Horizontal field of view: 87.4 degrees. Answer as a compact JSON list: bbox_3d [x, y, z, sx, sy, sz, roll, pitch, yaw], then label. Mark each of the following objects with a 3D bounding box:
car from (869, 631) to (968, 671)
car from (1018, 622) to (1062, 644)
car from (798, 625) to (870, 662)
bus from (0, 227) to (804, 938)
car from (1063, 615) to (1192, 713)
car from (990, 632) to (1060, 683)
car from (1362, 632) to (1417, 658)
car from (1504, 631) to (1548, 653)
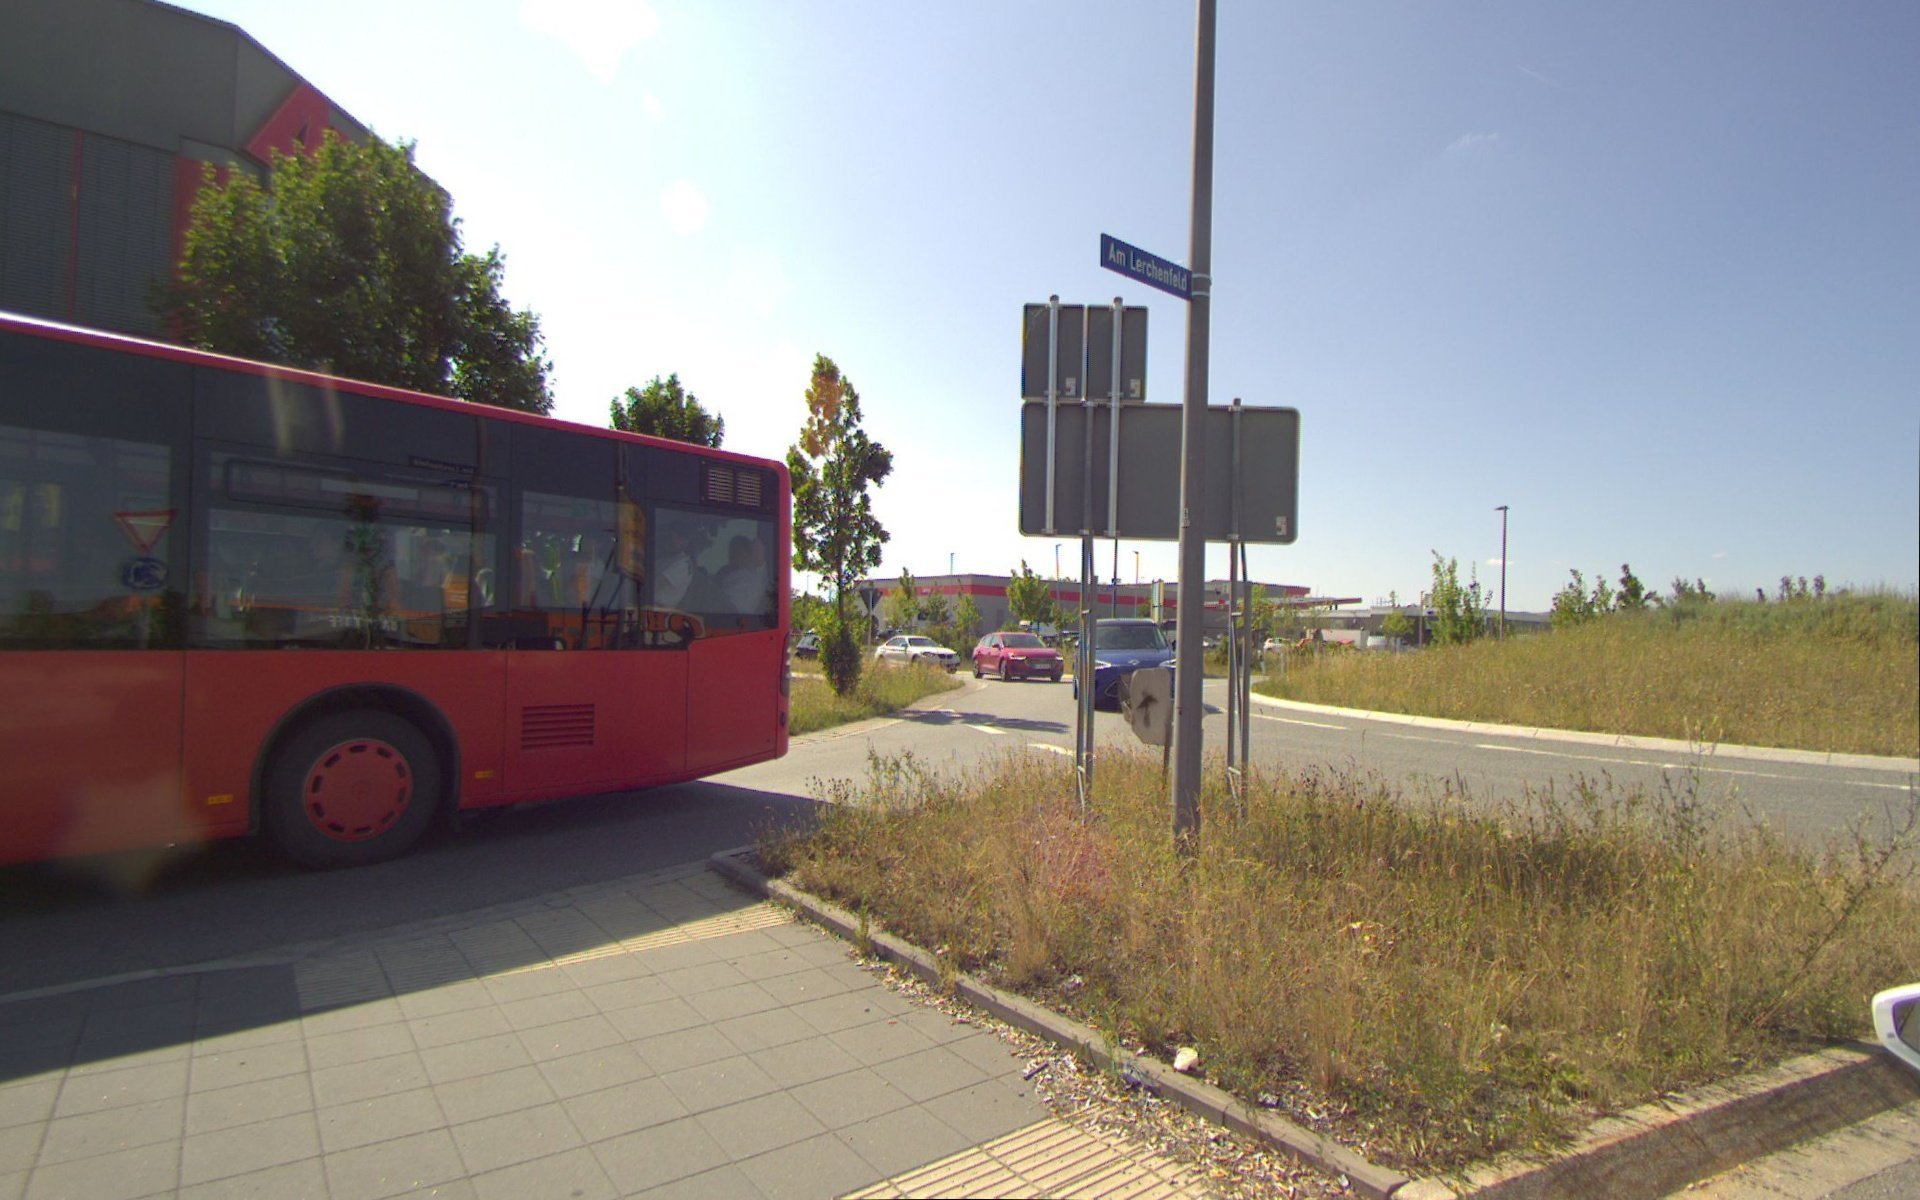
[{"bbox_3d":[-1.652,1.950,38.879,1.779,1.434,4.339,3,-3,-35],"label":"car"},{"bbox_3d":[7.640,3.179,95.830,3.966,2.040,1.978,3,-2,-39],"label":"car"},{"bbox_3d":[-5.677,1.906,44.853,1.628,1.507,3.868,1,-1,-34],"label":"car"},{"bbox_3d":[-6.009,-0.082,4.728,2.577,3.284,11.830,-1,-2,39],"label":"bus"},{"bbox_3d":[3.056,1.168,19.143,1.820,1.657,4.081,0,-2,1],"label":"car"},{"bbox_3d":[1.910,1.718,30.522,1.773,1.434,4.117,1,-2,-1],"label":"car"},{"bbox_3d":[35.690,3.760,83.391,5.091,2.040,1.978,3,-2,-38],"label":"car"},{"bbox_3d":[49.913,3.708,88.555,3.963,1.754,1.980,3,-2,-36],"label":"car"}]
